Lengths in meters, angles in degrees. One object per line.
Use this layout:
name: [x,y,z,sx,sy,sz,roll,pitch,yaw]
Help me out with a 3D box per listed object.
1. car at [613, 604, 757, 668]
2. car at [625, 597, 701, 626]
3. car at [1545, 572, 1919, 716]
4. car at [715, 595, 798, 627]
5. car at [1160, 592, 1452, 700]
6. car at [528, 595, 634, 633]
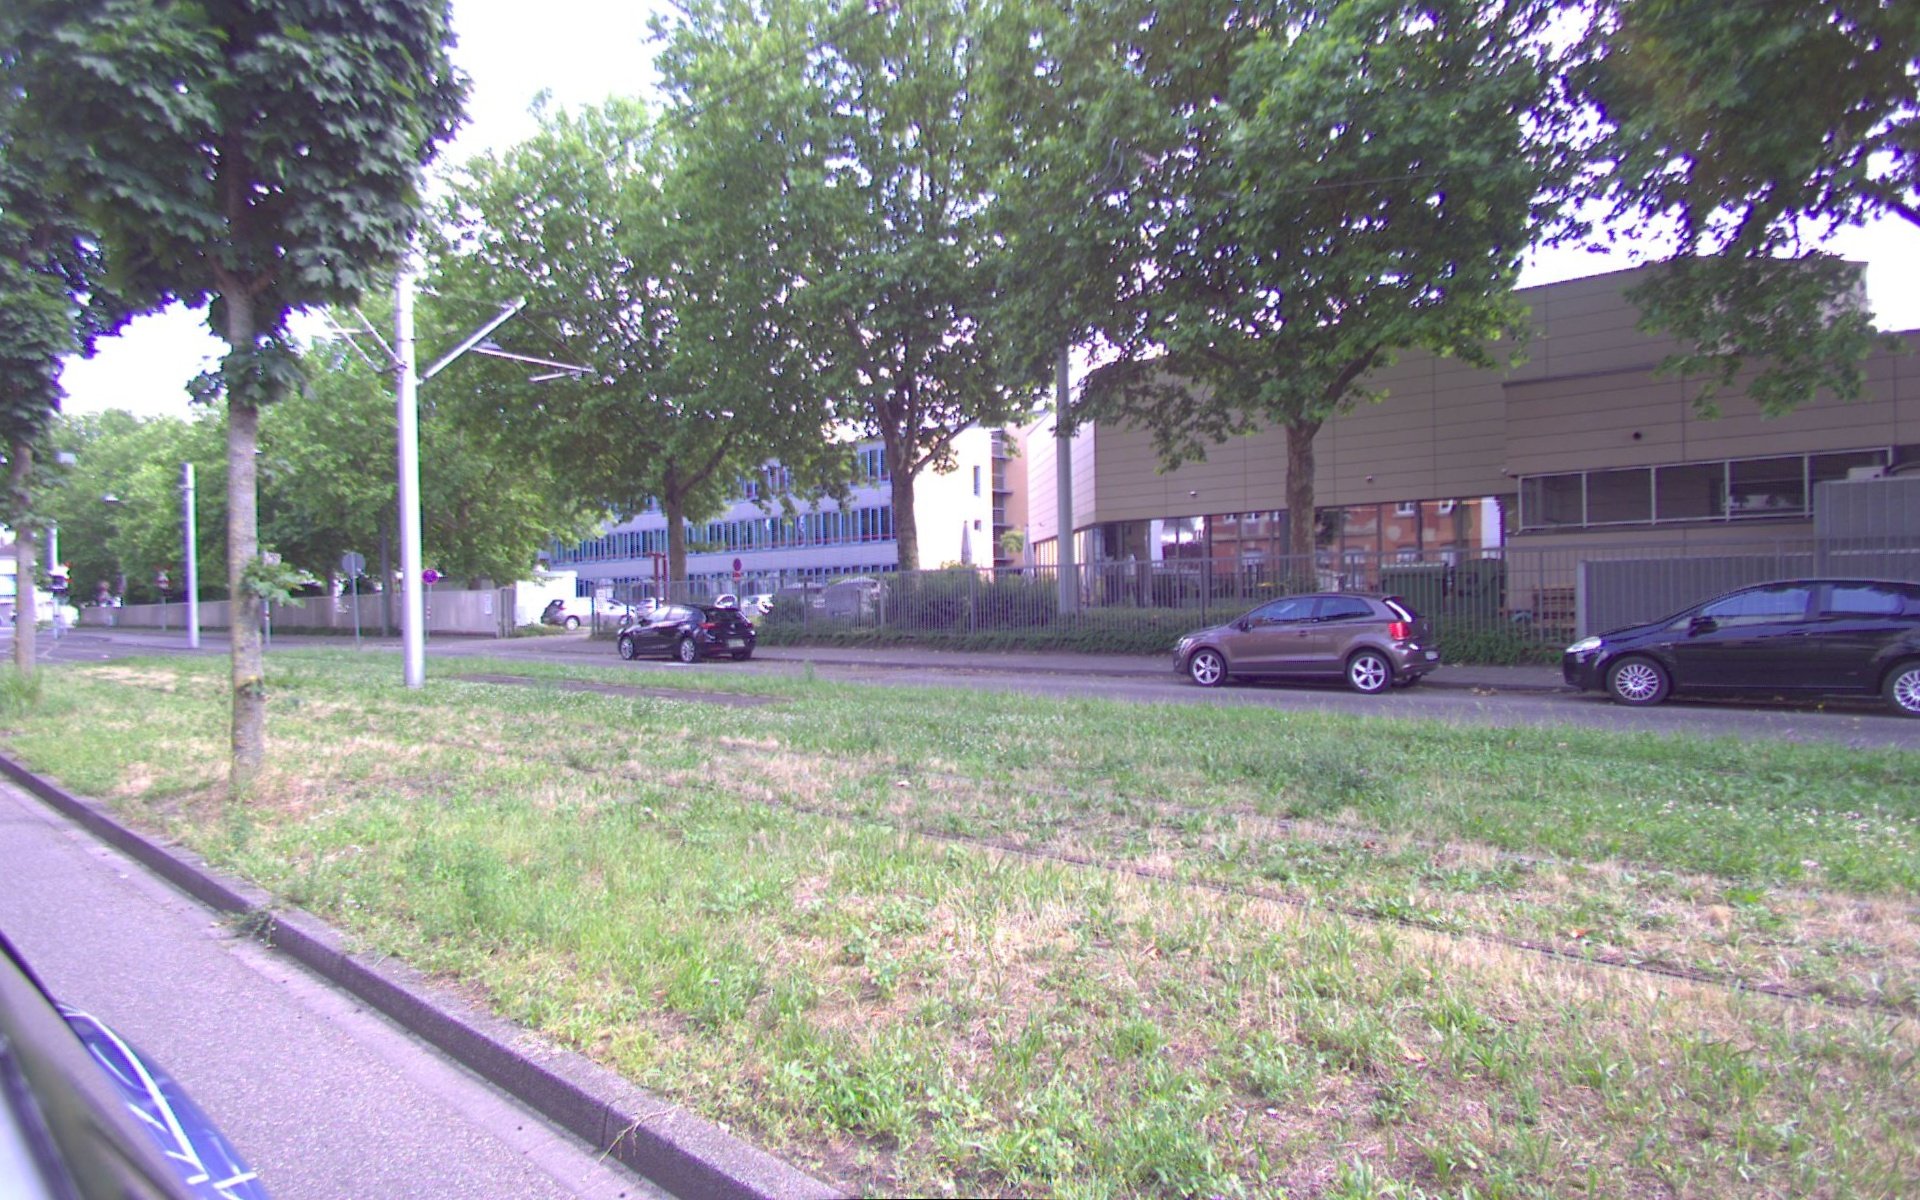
car: [-6.979,0.866,25.506,3.999,1.475,1.580,-1,0,42]
car: [-17.774,0.678,60.585,1.998,1.630,3.948,-1,0,38]
car: [9.311,0.452,11.812,4.000,1.464,1.783,-1,0,43]
car: [-10.714,0.560,53.467,1.998,1.630,3.948,-1,0,38]
car: [5.164,0.639,15.390,3.899,1.436,1.538,-1,0,40]
car: [-16.788,0.592,44.919,1.998,1.630,3.948,-1,0,38]
